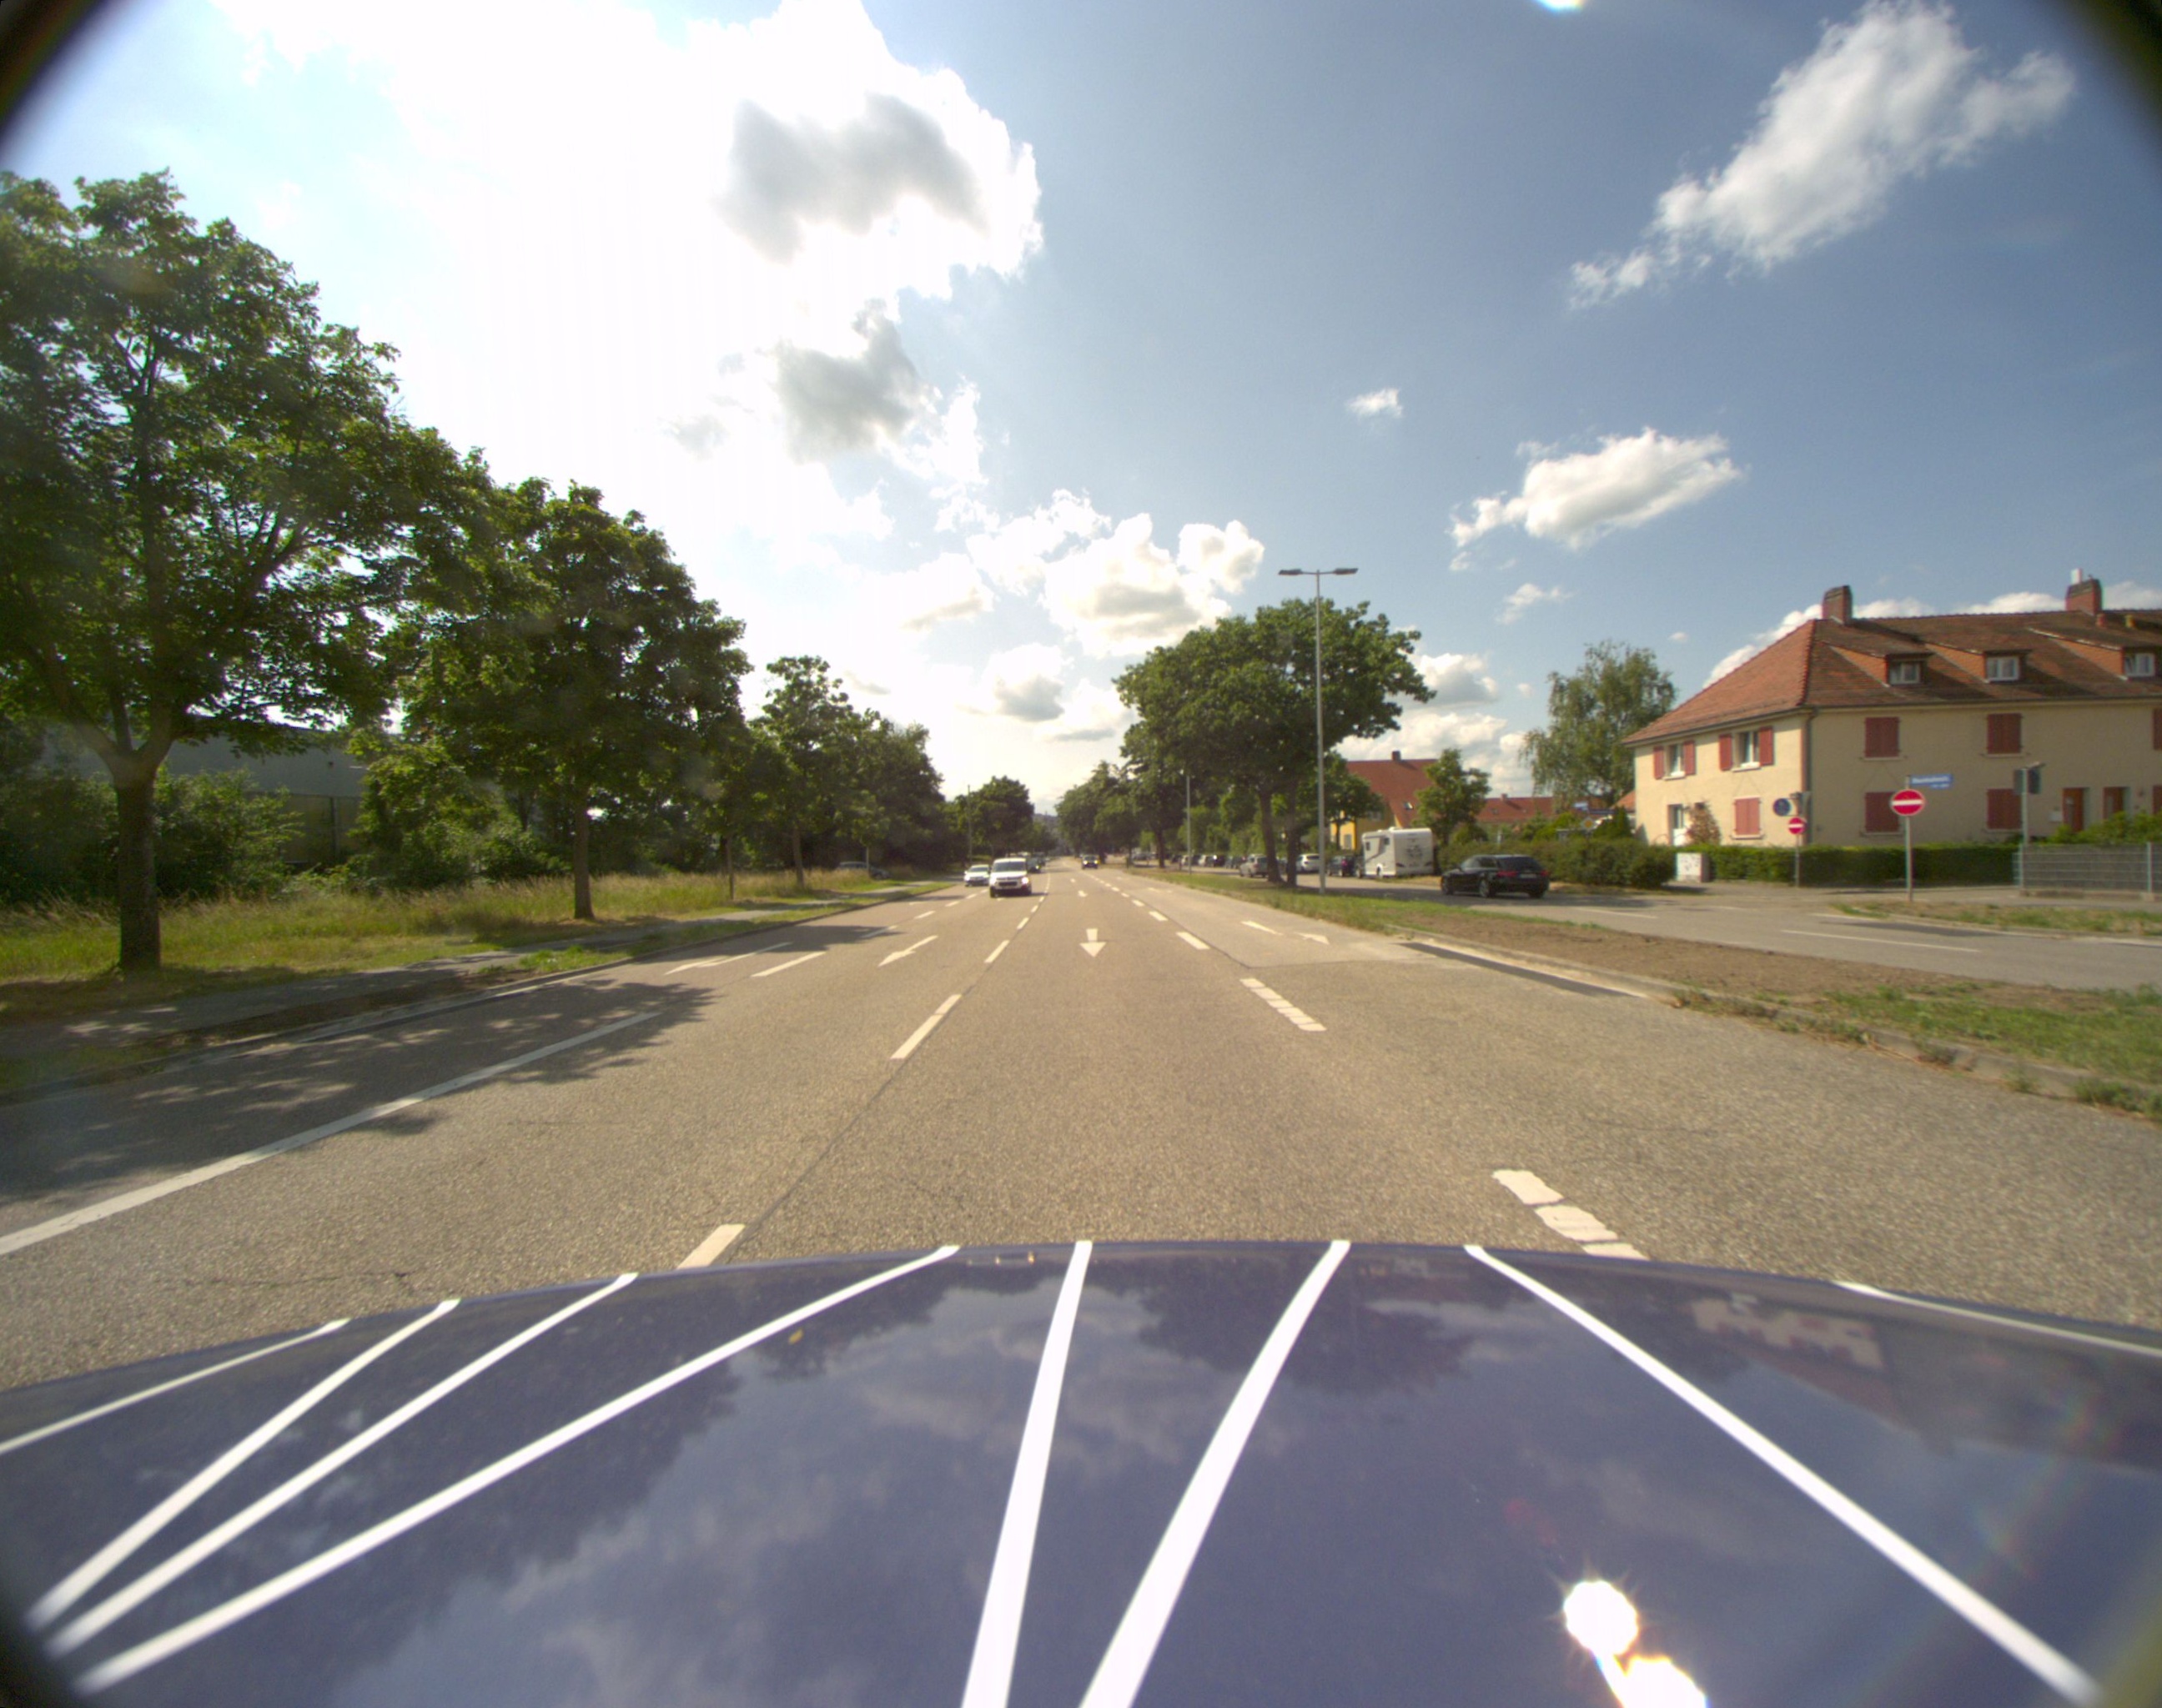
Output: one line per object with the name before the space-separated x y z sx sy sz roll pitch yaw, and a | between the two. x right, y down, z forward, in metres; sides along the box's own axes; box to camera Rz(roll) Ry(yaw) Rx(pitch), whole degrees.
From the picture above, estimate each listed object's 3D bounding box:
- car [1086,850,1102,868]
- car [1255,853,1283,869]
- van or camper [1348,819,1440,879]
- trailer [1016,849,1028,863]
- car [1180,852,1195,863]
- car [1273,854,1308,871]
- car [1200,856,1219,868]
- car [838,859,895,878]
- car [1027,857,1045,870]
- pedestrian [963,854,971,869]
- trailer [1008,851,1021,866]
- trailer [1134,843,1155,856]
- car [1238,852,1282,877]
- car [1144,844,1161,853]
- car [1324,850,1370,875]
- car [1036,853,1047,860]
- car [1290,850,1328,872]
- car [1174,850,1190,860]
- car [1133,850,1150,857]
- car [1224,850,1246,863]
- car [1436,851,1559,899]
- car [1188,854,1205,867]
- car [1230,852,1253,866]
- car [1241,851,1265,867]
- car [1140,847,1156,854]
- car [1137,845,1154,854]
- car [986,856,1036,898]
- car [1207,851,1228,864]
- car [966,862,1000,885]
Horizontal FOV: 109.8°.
car | 1.527 0.556 91.532 1.768 1.893 4.540 -4 1 0
car | 17.670 0.655 71.645 1.514 1.362 4.531 -4 0 0
van or camper | 18.077 -0.259 44.415 2.264 3.094 7.320 -4 0 1
trailer | -10.853 0.291 139.740 1.999 2.352 4.780 3 1 -2
car | 16.156 0.509 115.650 1.598 1.453 3.533 -4 1 -3
car | 17.867 0.671 65.021 1.640 1.298 4.584 -4 0 0
car | 17.287 1.065 102.202 1.665 1.443 3.845 -4 1 -3
car | -17.355 1.179 61.729 4.175 1.484 1.784 1 -2 -5
car | -4.930 1.038 83.717 1.892 1.281 3.998 -4 1 -3
pedestrian | -13.847 0.918 92.254 0.719 1.784 0.739 -4 1 -3
trailer | -10.357 0.684 118.930 1.958 2.338 4.604 0 1 -3
trailer | 17.226 -1.163 204.684 2.821 3.090 5.764 -3 0 36
car | 12.020 0.697 51.292 1.737 1.499 4.651 2 1 -1
car | 16.988 -1.303 179.539 4.007 2.002 1.800 -5 2 -44
car | 17.921 0.541 51.428 1.640 1.477 3.991 -4 1 0
car | -7.639 0.515 147.102 1.892 1.281 3.998 -4 1 -3
car | 17.960 0.526 59.967 1.693 1.477 4.123 -4 1 0
car | 16.877 0.162 126.910 1.772 1.543 3.998 -4 1 -3
car | 15.396 -0.096 192.614 3.997 1.502 1.799 -4 1 -1
car | 17.537 0.265 86.517 1.566 1.387 3.476 -4 1 -2
car | 13.842 0.637 25.580 1.776 1.430 4.576 -1 1 2
car | 16.663 0.937 109.792 1.665 1.603 4.313 -4 1 -3
car | 17.237 0.500 81.718 1.406 1.387 4.356 -4 0 -2
car | 17.559 0.483 77.483 1.406 1.548 3.741 -4 0 -2
car | 16.372 -0.894 185.204 4.007 1.390 1.569 -4 2 -44
car | 15.960 -1.194 187.689 4.007 2.002 1.800 -5 2 -44
car | -3.256 1.042 36.200 1.936 1.774 4.715 -4 0 -1
car | 17.052 0.436 95.044 1.665 1.473 4.102 -4 0 -3
car | -6.879 1.370 53.587 1.736 1.477 4.092 -2 0 1
